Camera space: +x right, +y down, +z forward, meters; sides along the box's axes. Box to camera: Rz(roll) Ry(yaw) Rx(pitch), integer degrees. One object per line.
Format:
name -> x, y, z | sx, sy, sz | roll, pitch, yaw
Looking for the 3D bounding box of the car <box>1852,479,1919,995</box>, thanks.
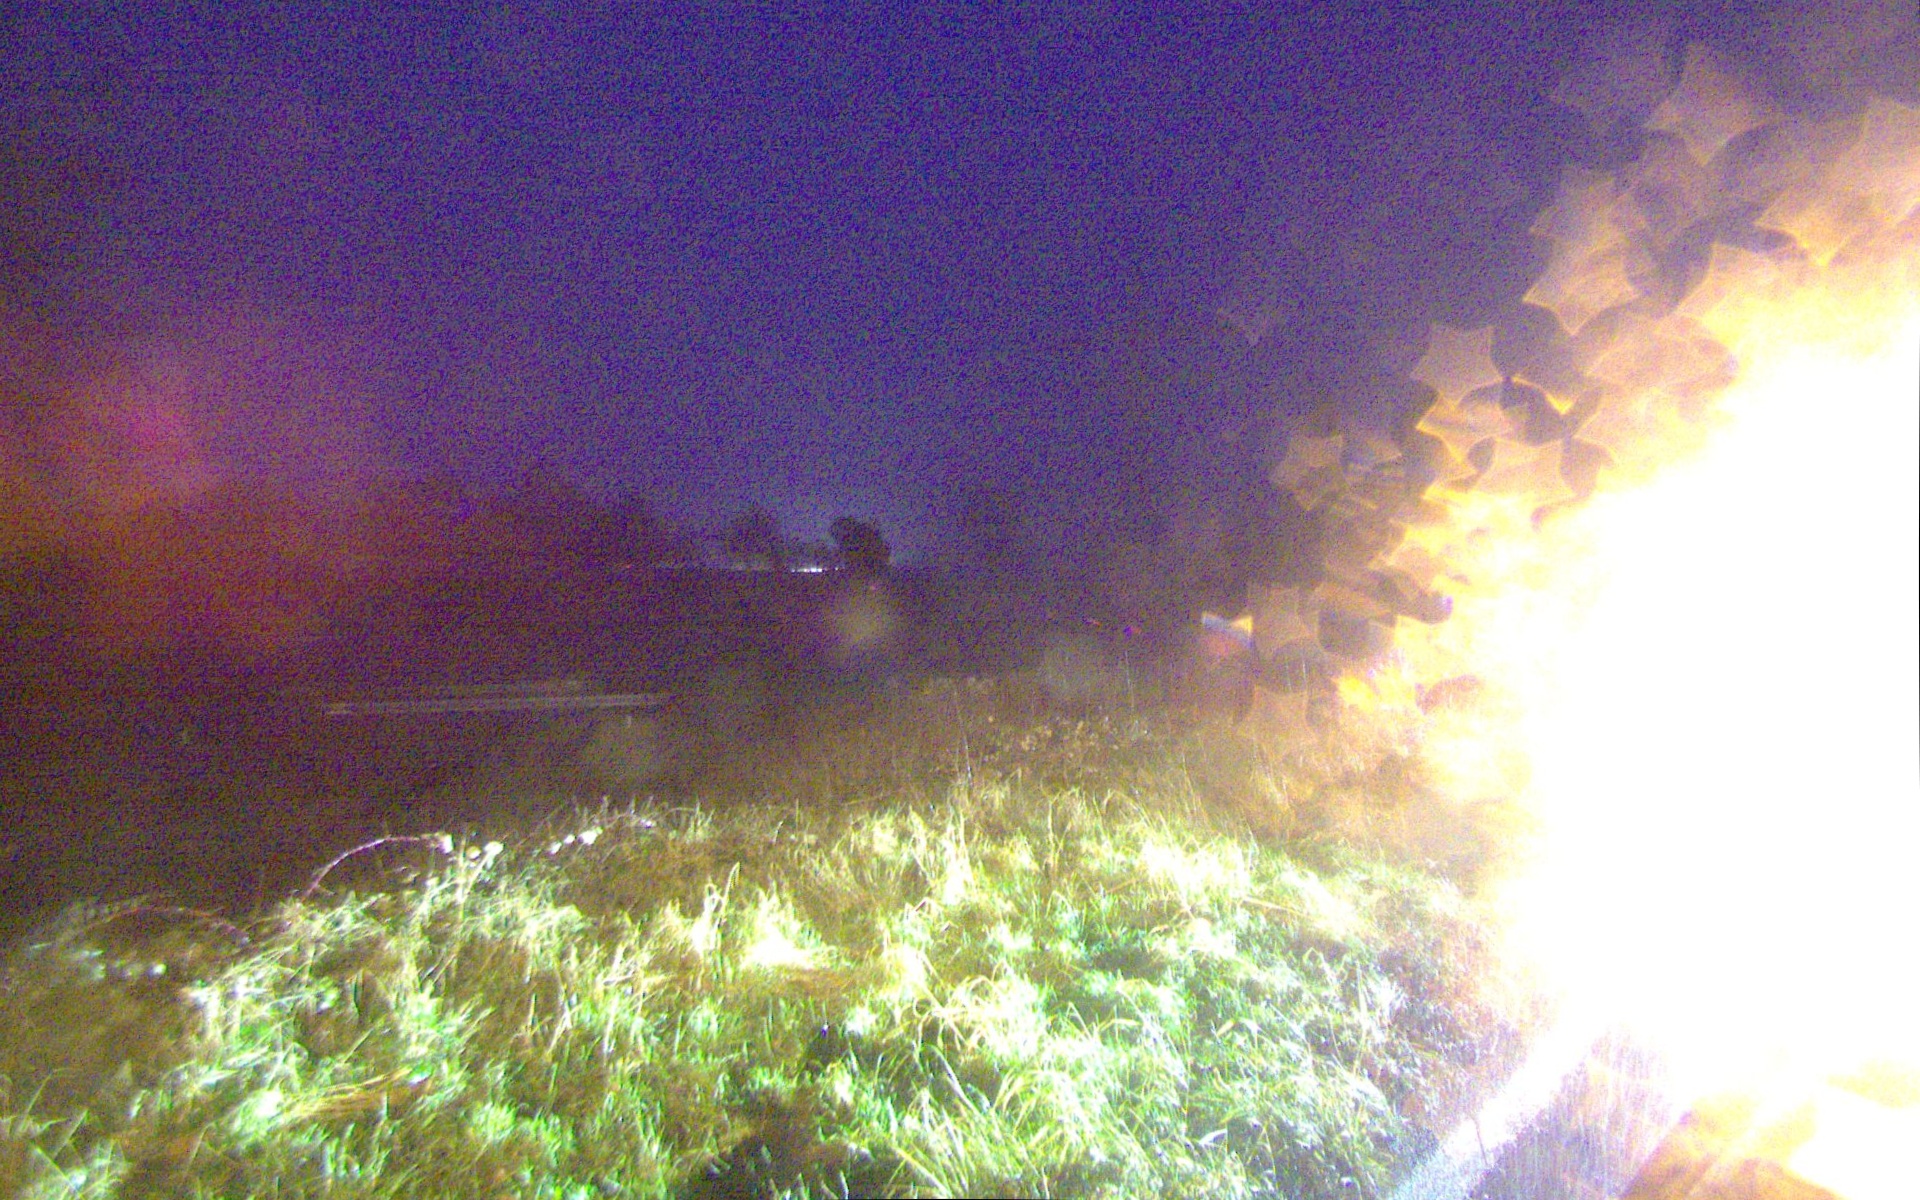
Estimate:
car -> 5.695, 0.500, 4.782 | 1.999, 1.949, 4.299 | 1, 1, 45
